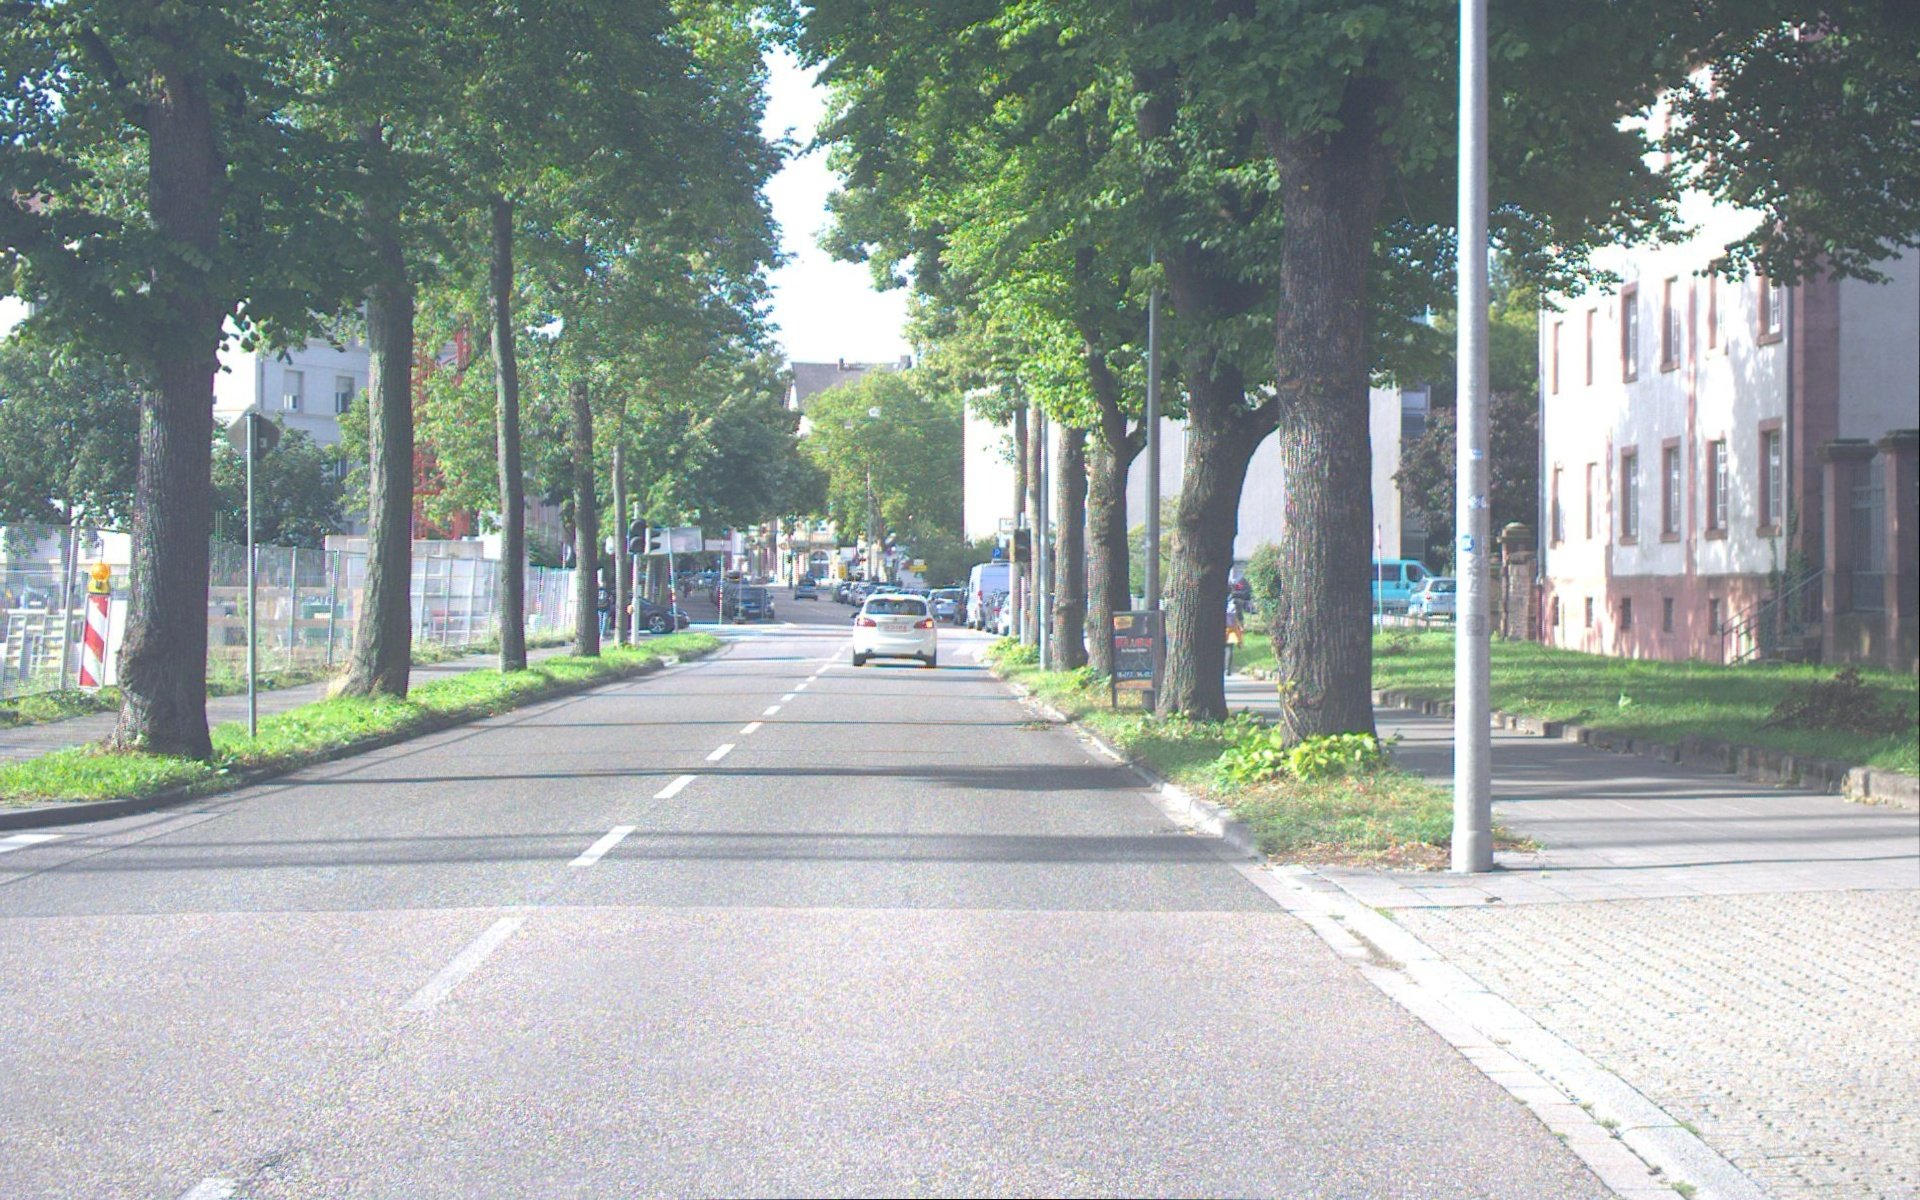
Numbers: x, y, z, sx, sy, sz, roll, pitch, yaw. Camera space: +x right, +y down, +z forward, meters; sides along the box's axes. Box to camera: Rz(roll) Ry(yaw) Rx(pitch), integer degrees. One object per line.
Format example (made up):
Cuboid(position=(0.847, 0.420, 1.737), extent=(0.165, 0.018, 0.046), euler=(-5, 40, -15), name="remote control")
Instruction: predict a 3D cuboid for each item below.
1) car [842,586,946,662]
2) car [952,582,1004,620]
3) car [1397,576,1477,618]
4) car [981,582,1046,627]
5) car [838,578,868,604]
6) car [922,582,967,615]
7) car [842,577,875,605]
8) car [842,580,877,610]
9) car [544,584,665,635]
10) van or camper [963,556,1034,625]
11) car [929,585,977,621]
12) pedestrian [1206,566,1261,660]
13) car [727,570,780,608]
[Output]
Cuboid(position=(-1.457, 0.508, 74.342), extent=(1.993, 1.549, 4.274), euler=(2, 0, -4), name="car")
Cuboid(position=(0.729, 0.031, 142.925), extent=(1.993, 1.568, 4.000), euler=(0, 0, -2), name="car")
Cuboid(position=(16.787, -0.125, 121.146), extent=(1.993, 1.437, 4.001), euler=(0, 0, -4), name="car")
Cuboid(position=(1.941, 0.161, 125.973), extent=(1.993, 1.610, 4.408), euler=(0, 0, -4), name="car")
Cuboid(position=(-7.484, -0.602, 240.343), extent=(1.993, 1.749, 4.000), euler=(2, 0, -1), name="car")
Cuboid(position=(-0.759, -0.081, 161.503), extent=(1.993, 1.525, 4.000), euler=(0, 0, -2), name="car")
Cuboid(position=(-6.483, -0.560, 219.526), extent=(1.993, 1.749, 4.000), euler=(2, 0, -1), name="car")
Cuboid(position=(-5.986, -0.286, 205.627), extent=(1.993, 1.749, 4.000), euler=(2, 0, -1), name="car")
Cuboid(position=(-11.461, 0.307, 111.075), extent=(1.997, 1.565, 3.994), euler=(2, 0, 28), name="car")
Cuboid(position=(1.450, -0.392, 132.001), extent=(2.209, 2.598, 5.372), euler=(0, 0, -5), name="van or camper")
Cuboid(position=(-0.323, 0.131, 153.643), extent=(1.993, 1.568, 4.000), euler=(0, 0, -2), name="car")
Cuboid(position=(4.700, 0.222, 59.126), extent=(0.814, 1.585, 0.769), euler=(-2, 0, -2), name="pedestrian")
Cuboid(position=(-8.914, -0.478, 148.233), extent=(1.993, 1.634, 4.001), euler=(0, 0, -7), name="car")
